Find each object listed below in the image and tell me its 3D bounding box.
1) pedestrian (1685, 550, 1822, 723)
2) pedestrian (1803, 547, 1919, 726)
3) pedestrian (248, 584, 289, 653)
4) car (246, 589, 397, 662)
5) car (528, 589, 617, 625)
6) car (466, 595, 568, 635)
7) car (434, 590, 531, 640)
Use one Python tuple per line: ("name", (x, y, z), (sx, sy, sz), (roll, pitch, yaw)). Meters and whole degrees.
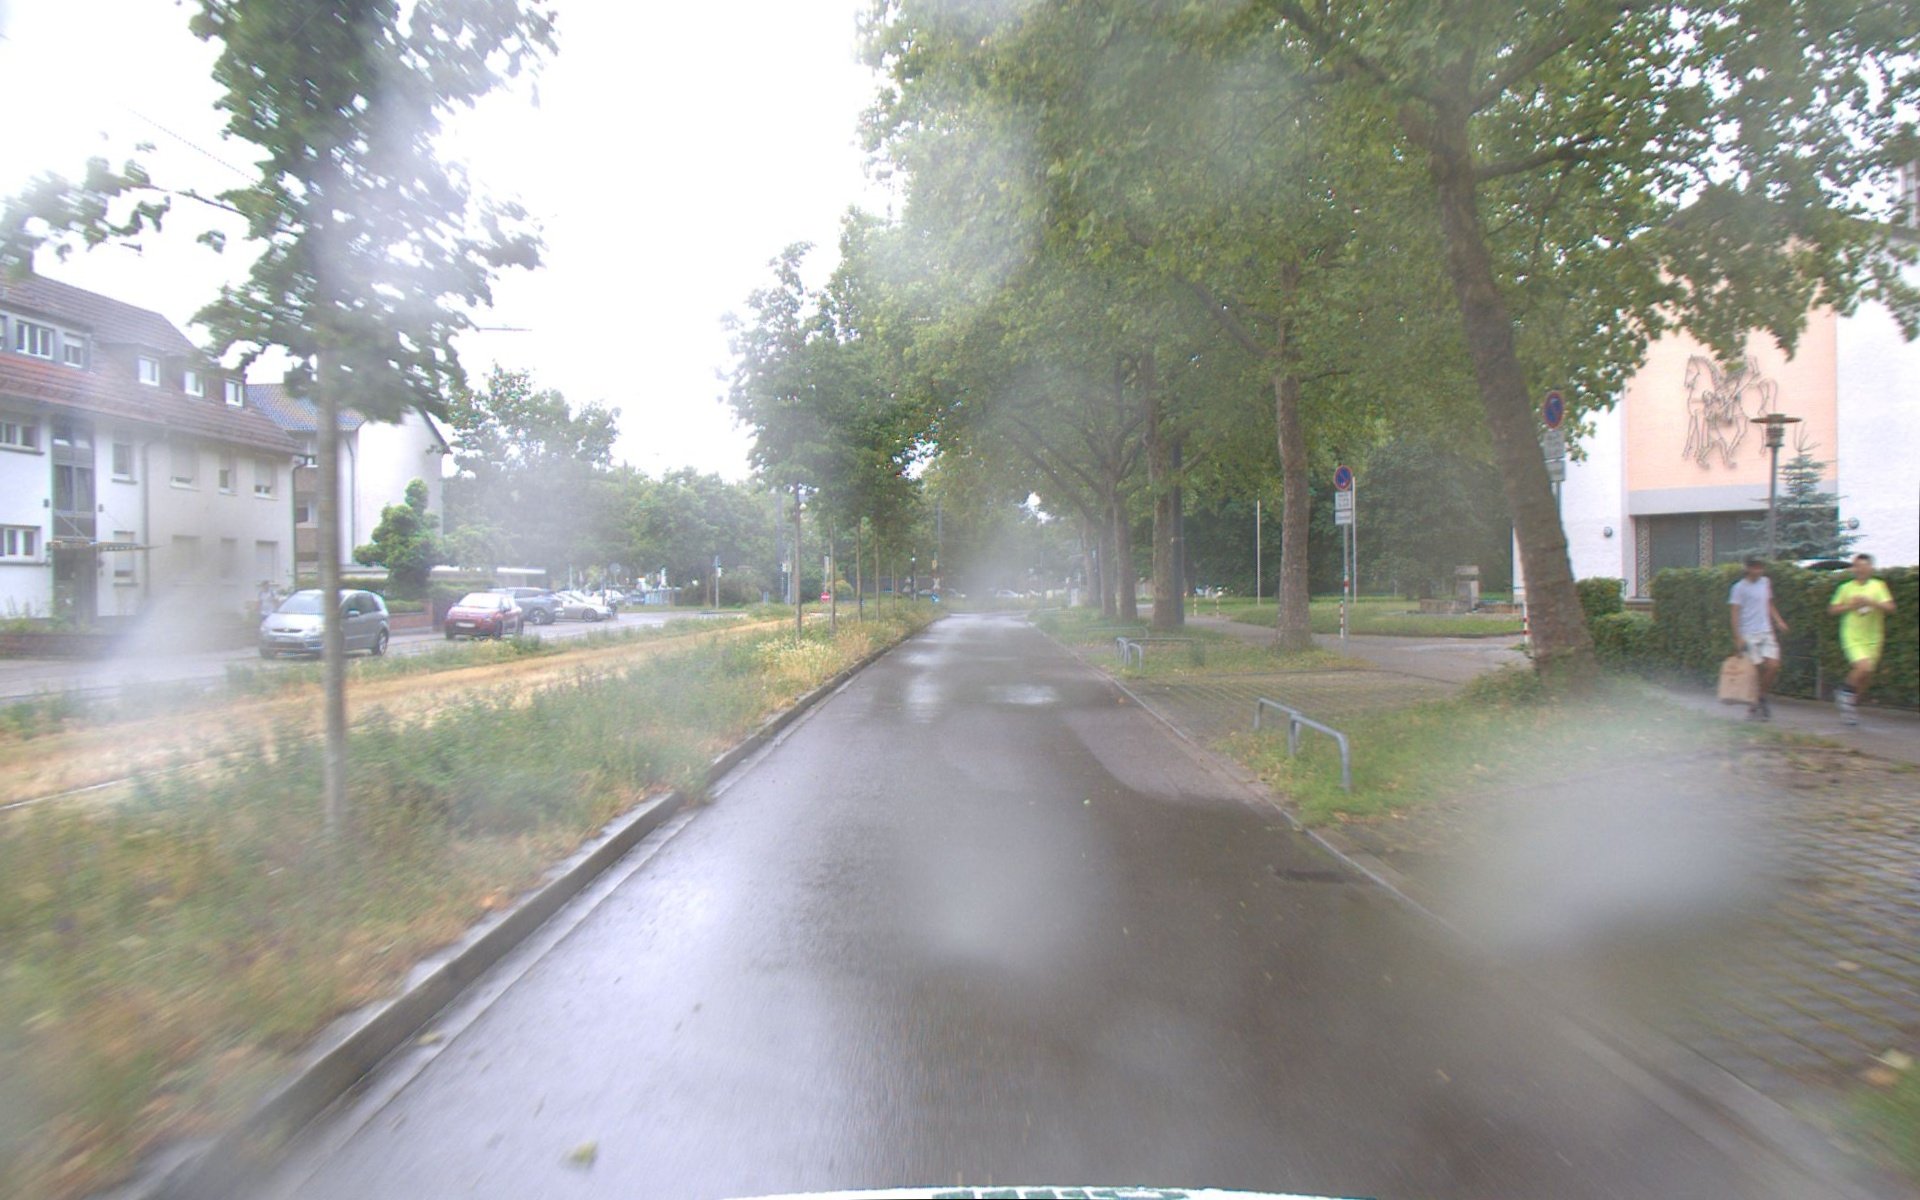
("pedestrian", (7.500, 0.329, 15.667), (0.817, 1.565, 0.859), (-2, 0, -5))
("pedestrian", (8.241, 0.316, 15.085), (0.545, 1.565, 0.966), (-1, 0, -5))
("pedestrian", (-18.287, 0.482, 43.760), (0.687, 1.785, 0.854), (-1, 0, 0))
("car", (-15.536, 0.571, 40.515), (1.953, 1.608, 4.517), (1, 1, 0))
("car", (-18.969, 0.342, 81.133), (3.907, 1.645, 1.999), (-1, 0, -2))
("car", (-19.484, 0.641, 72.869), (3.907, 1.645, 1.999), (-1, 0, -2))
("car", (-15.646, 0.468, 54.408), (1.953, 1.514, 4.205), (1, 1, 0))
